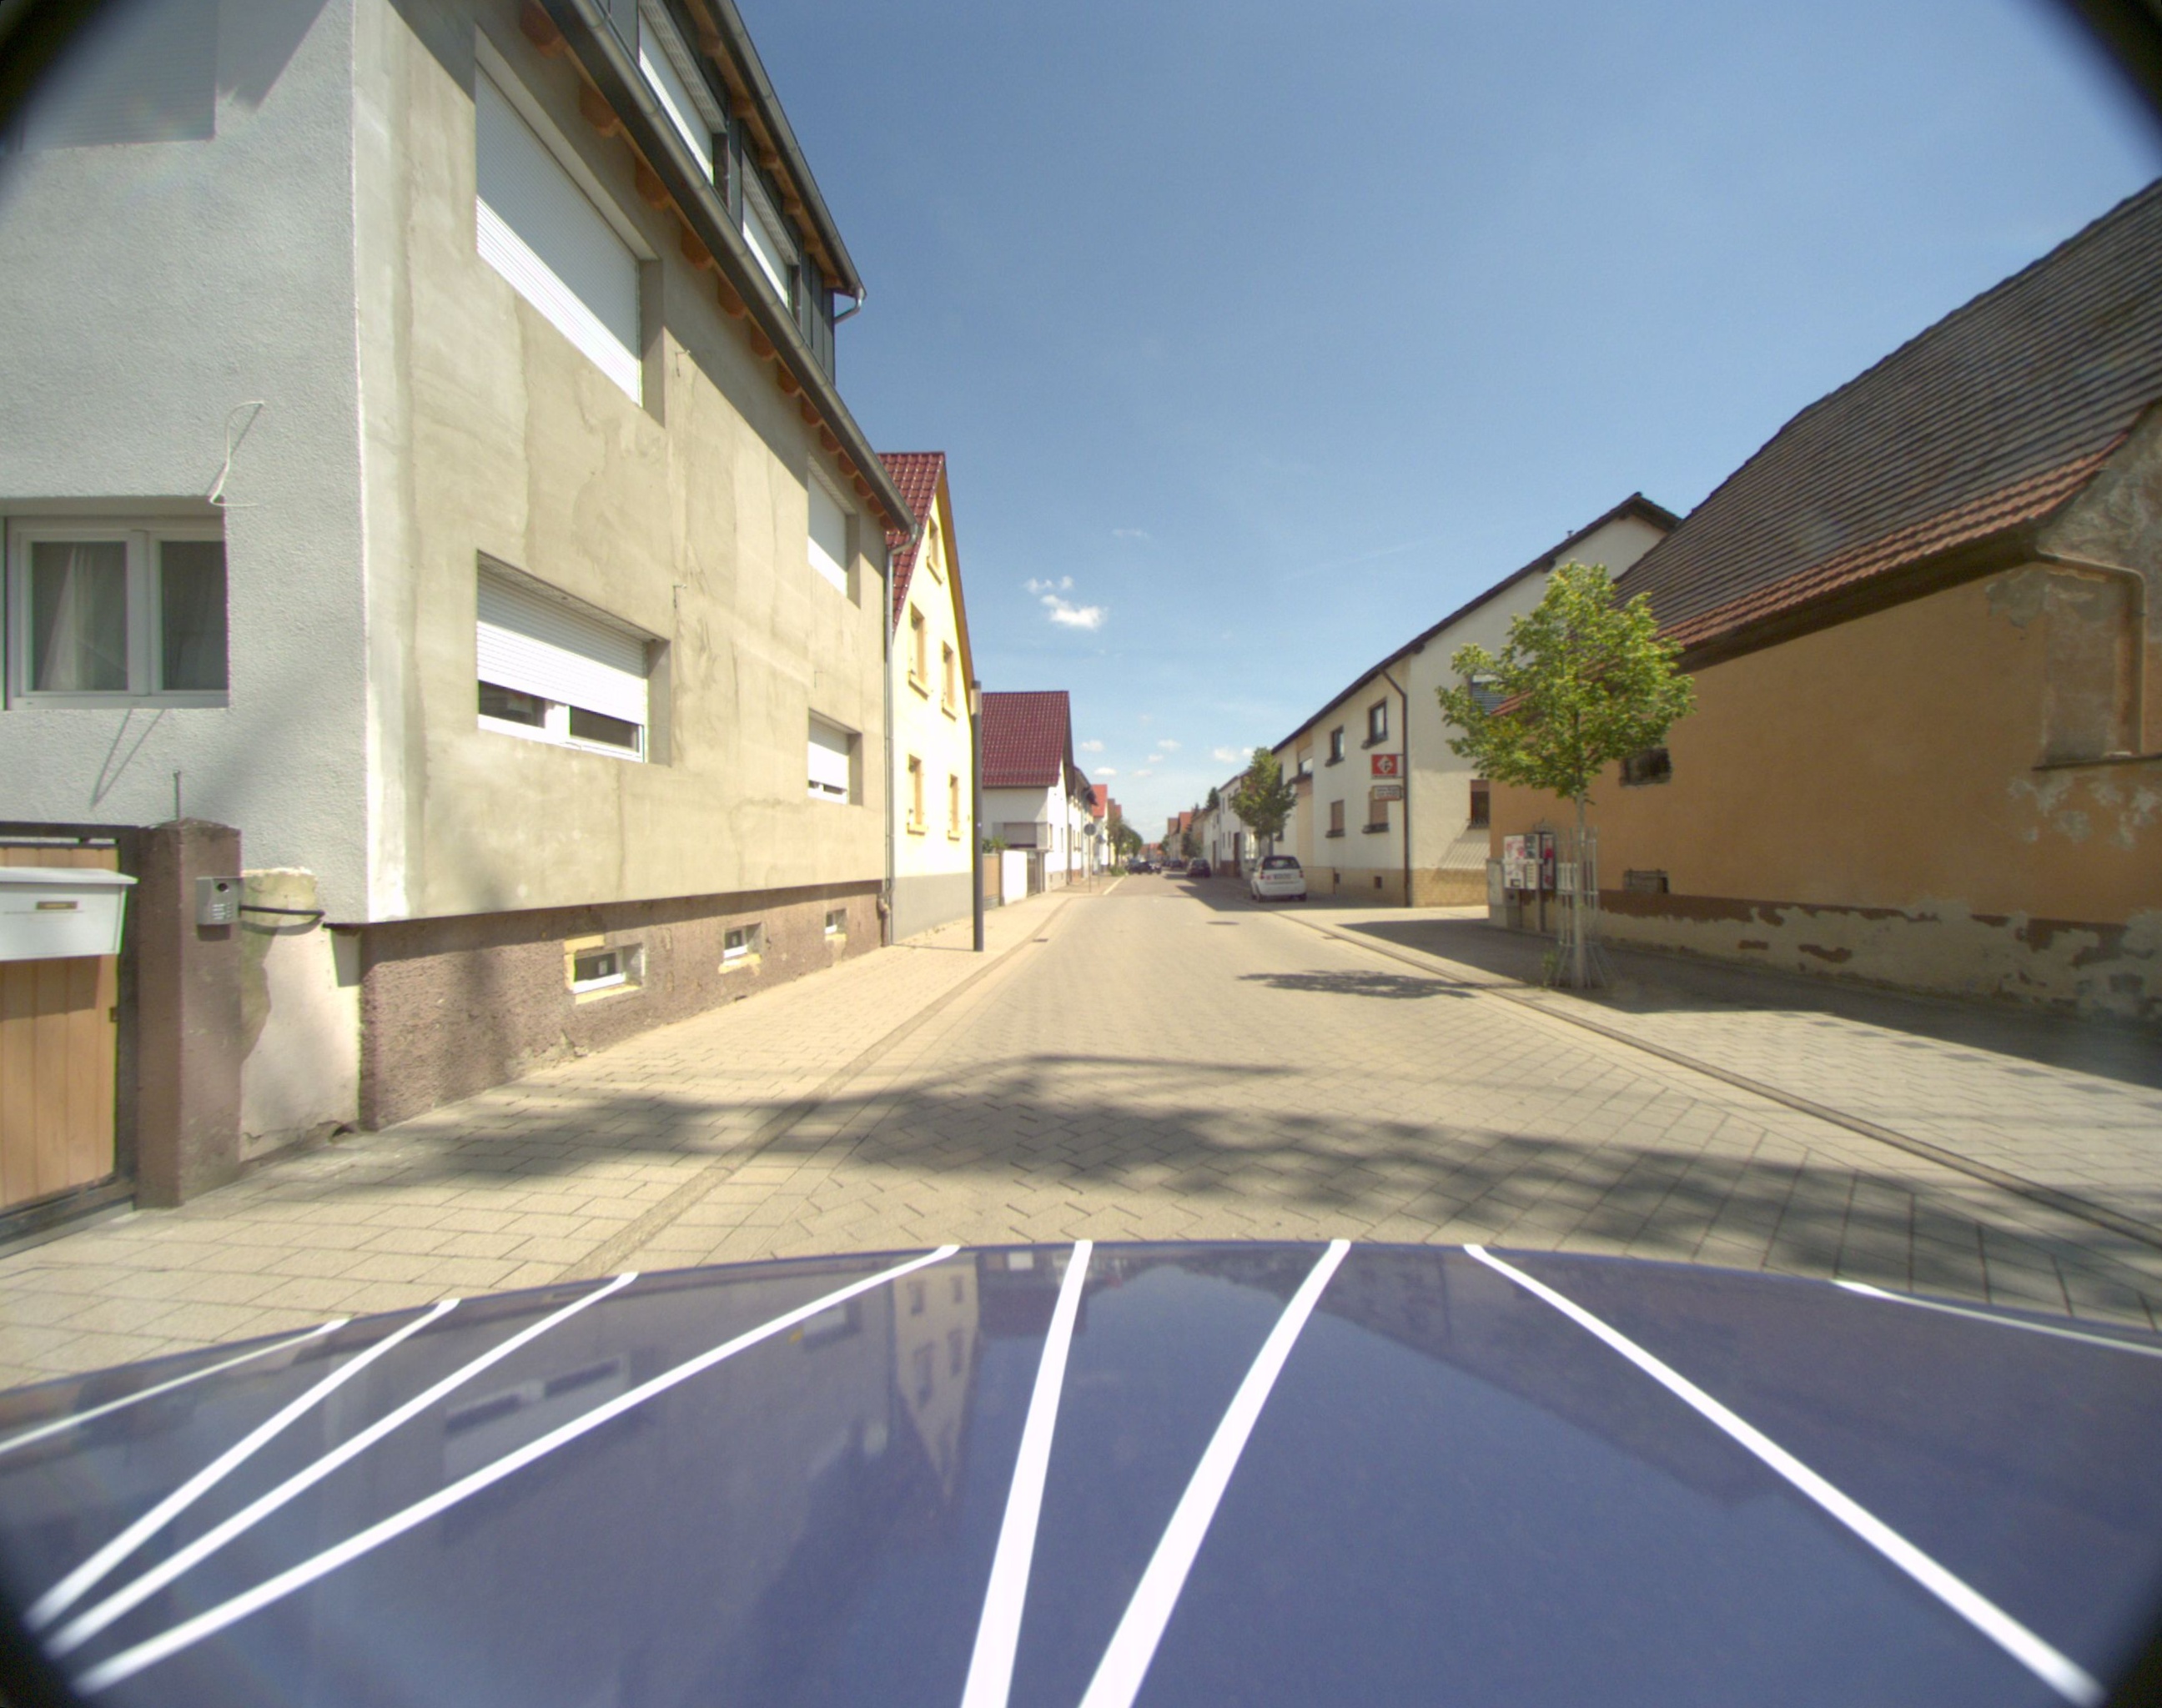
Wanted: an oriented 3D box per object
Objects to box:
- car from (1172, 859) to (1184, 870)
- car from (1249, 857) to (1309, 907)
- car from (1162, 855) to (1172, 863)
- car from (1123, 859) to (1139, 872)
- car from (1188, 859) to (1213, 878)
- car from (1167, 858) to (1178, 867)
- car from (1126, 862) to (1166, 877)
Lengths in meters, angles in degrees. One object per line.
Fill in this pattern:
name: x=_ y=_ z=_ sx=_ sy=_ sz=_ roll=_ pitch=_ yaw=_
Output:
car: x=15.345 y=1.713 z=120.169 sx=1.851 sy=1.688 sz=4.002 roll=0 pitch=0 yaw=5
car: x=6.771 y=0.924 z=26.260 sx=1.575 sy=1.552 sz=2.823 roll=-3 pitch=0 yaw=7
car: x=18.670 y=1.116 z=165.099 sx=1.998 sy=1.570 sz=4.002 roll=0 pitch=0 yaw=5
car: x=6.870 y=1.566 z=103.357 sx=1.997 sy=1.696 sz=4.002 roll=0 pitch=0 yaw=6
car: x=10.087 y=1.165 z=64.281 sx=1.751 sy=1.557 sz=3.956 roll=0 pitch=0 yaw=3
car: x=17.011 y=1.599 z=141.290 sx=1.854 sy=1.543 sz=4.001 roll=0 pitch=0 yaw=3
car: x=6.623 y=1.574 z=78.032 sx=3.807 sy=1.420 sz=1.731 roll=-1 pitch=0 yaw=43
